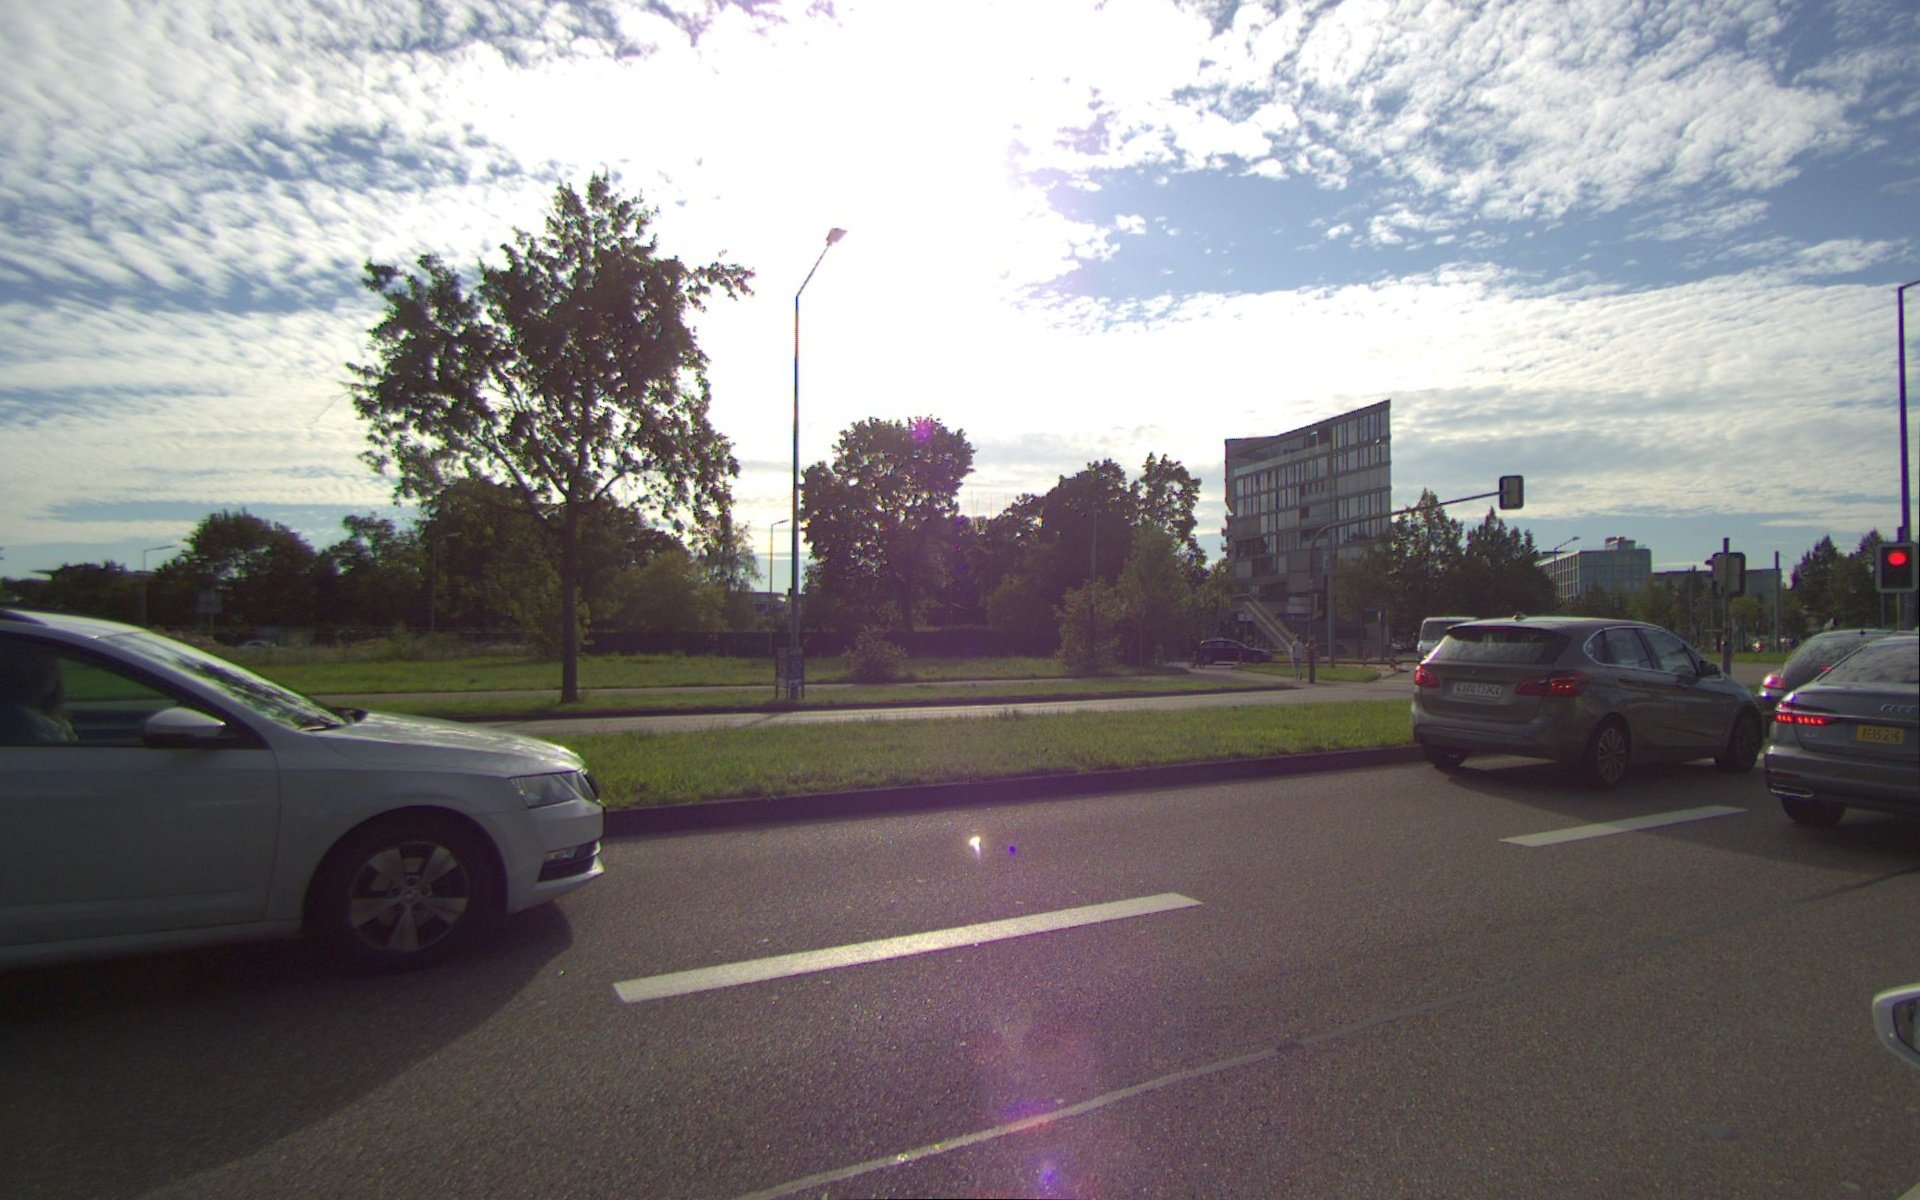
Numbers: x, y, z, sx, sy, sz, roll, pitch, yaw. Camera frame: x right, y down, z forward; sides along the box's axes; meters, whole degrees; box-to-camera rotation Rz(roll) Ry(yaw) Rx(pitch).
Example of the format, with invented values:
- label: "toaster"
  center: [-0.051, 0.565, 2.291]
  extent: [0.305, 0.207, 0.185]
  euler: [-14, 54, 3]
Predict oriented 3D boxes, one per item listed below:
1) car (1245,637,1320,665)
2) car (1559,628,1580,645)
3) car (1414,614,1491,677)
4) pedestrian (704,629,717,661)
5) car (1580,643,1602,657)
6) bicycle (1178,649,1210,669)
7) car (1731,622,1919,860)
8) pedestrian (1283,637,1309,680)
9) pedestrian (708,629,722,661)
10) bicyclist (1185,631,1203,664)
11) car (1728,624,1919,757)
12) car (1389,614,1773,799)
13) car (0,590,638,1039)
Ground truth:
- label: "car"
  center: [18.671, 2.917, 58.197]
  extent: [3.863, 1.572, 1.757]
  euler: [-1, -3, 29]
- label: "car"
  center: [56.329, 3.382, 92.797]
  extent: [1.570, 1.433, 3.662]
  euler: [-3, -6, 33]
- label: "car"
  center: [19.431, 1.817, 39.478]
  extent: [1.966, 2.264, 5.910]
  euler: [-3, -4, 33]
- label: "pedestrian"
  center: [-15.625, 2.815, 63.030]
  extent: [0.675, 2.040, 0.641]
  euler: [0, -2, -5]
- label: "car"
  center: [67.471, 5.312, 107.477]
  extent: [1.591, 1.484, 3.727]
  euler: [-1, -2, 27]
- label: "bicycle"
  center: [12.235, 3.074, 52.507]
  extent: [0.638, 0.980, 1.664]
  euler: [1, -2, -34]
- label: "car"
  center: [8.026, 0.970, 7.639]
  extent: [4.559, 1.502, 1.881]
  euler: [2, -1, -31]
- label: "pedestrian"
  center: [12.449, 2.167, 37.216]
  extent: [0.609, 1.589, 0.651]
  euler: [2, -2, -34]
- label: "pedestrian"
  center: [-15.612, 2.877, 63.940]
  extent: [0.723, 2.040, 0.739]
  euler: [0, -2, -6]
- label: "bicyclist"
  center: [12.232, 2.489, 52.531]
  extent: [0.544, 1.690, 0.783]
  euler: [2, -3, -34]
- label: "car"
  center: [12.234, 1.133, 13.576]
  extent: [3.766, 1.543, 1.672]
  euler: [1, -1, -31]
- label: "car"
  center: [6.463, 0.972, 10.381]
  extent: [3.971, 1.579, 1.721]
  euler: [1, -1, -30]
- label: "car"
  center: [-3.769, 0.734, 4.075]
  extent: [4.429, 1.518, 1.690]
  euler: [2, -2, -31]
